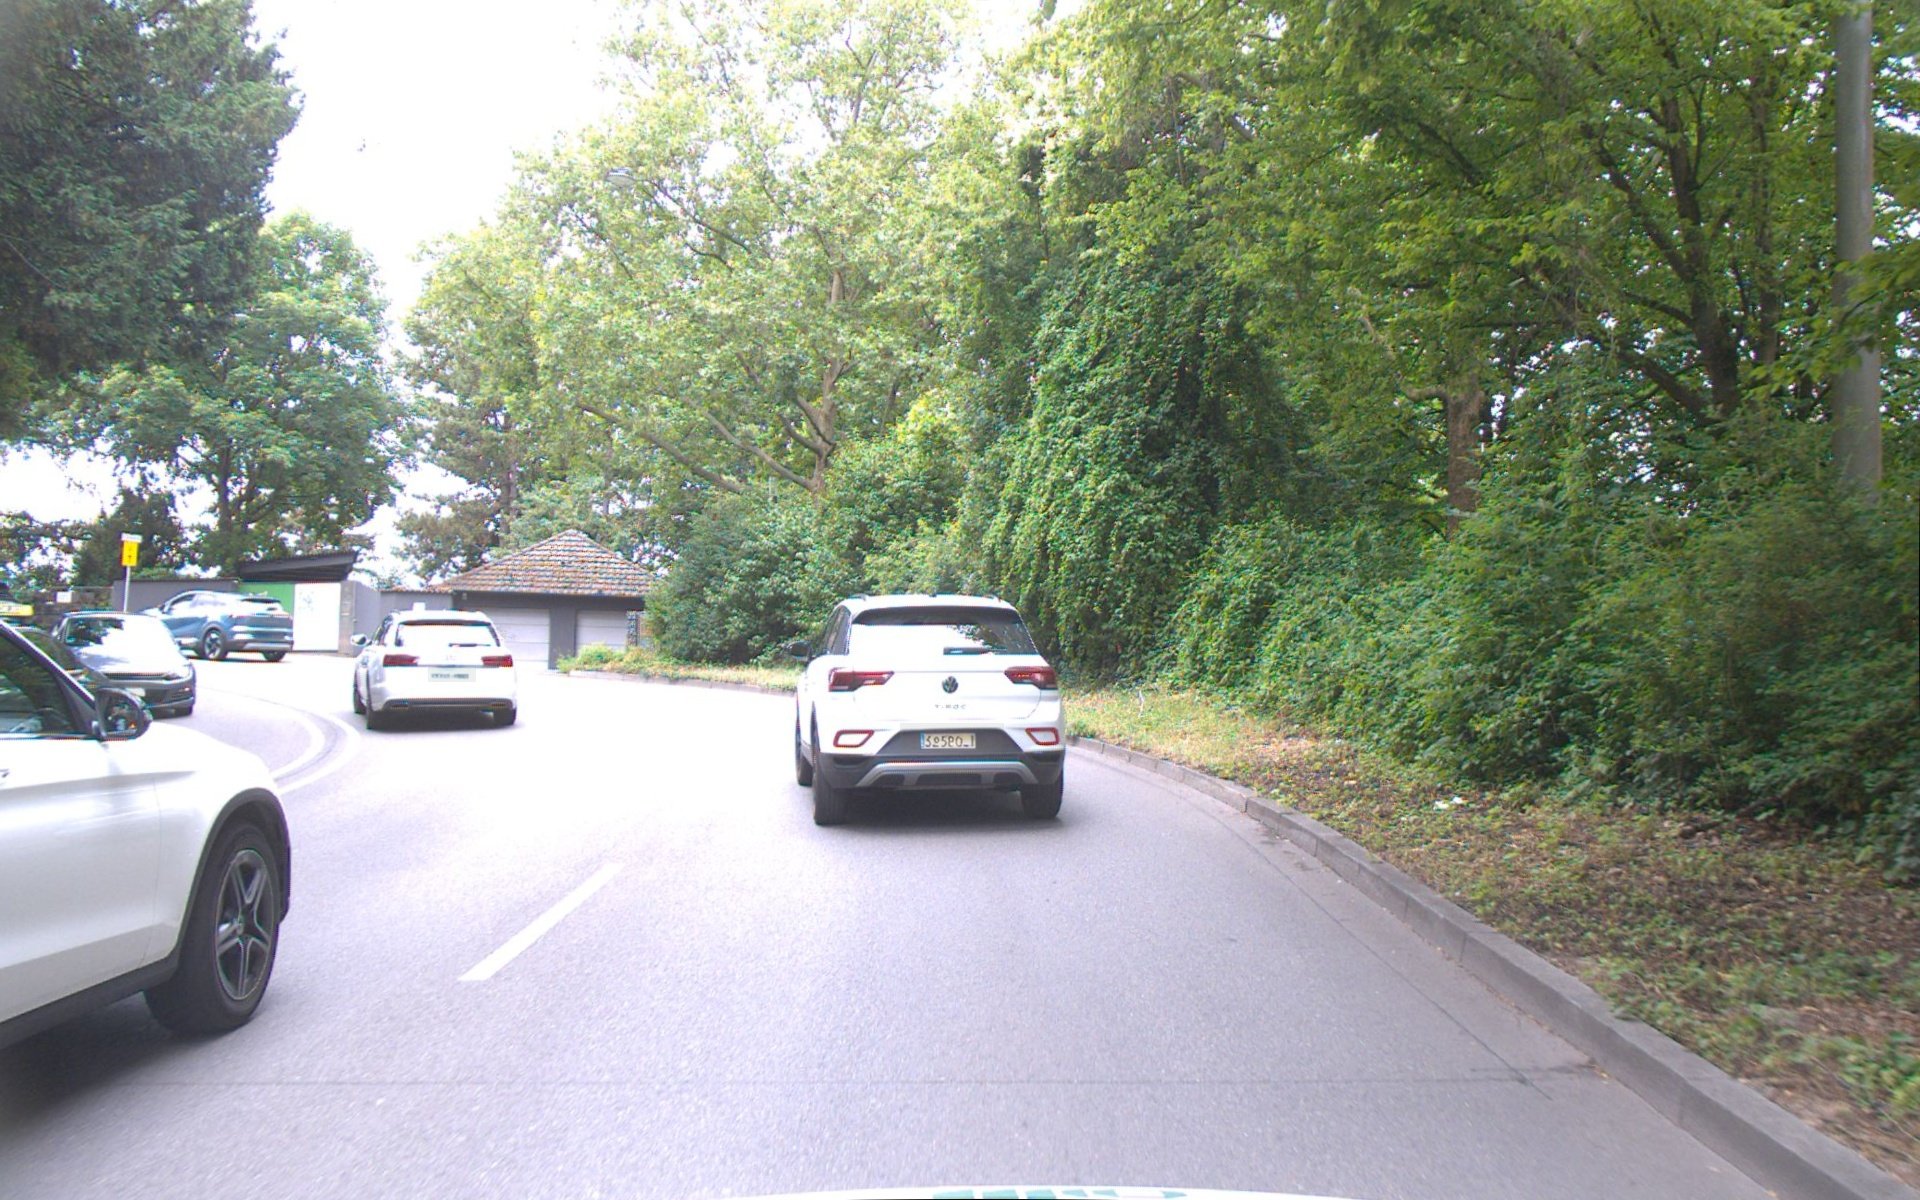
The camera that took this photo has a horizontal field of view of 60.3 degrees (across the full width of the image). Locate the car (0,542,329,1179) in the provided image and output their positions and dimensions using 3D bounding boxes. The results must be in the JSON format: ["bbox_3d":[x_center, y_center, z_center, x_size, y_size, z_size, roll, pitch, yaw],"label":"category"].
[{"bbox_3d":[-3.371,0.667,4.217,1.821,1.634,4.669,0,-1,-1],"label":"car"}]

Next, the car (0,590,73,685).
[{"bbox_3d":[-18.875,0.643,30.824,4.283,1.682,1.775,1,1,21],"label":"car"}]

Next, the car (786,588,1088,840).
[{"bbox_3d":[-0.362,0.730,12.826,1.722,1.580,4.328,-1,0,-9],"label":"car"}]

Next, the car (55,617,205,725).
[{"bbox_3d":[-11.763,0.940,23.496,1.750,1.363,3.925,0,0,-27],"label":"car"}]

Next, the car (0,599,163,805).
[{"bbox_3d":[-8.518,0.818,13.492,1.824,1.625,4.629,0,-1,-1],"label":"car"}]

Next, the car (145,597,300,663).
[{"bbox_3d":[-17.342,0.675,38.834,3.777,1.444,1.628,1,0,35],"label":"car"}]

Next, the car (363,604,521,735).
[{"bbox_3d":[-7.112,0.848,22.439,1.837,1.561,4.748,0,0,-20],"label":"car"}]
